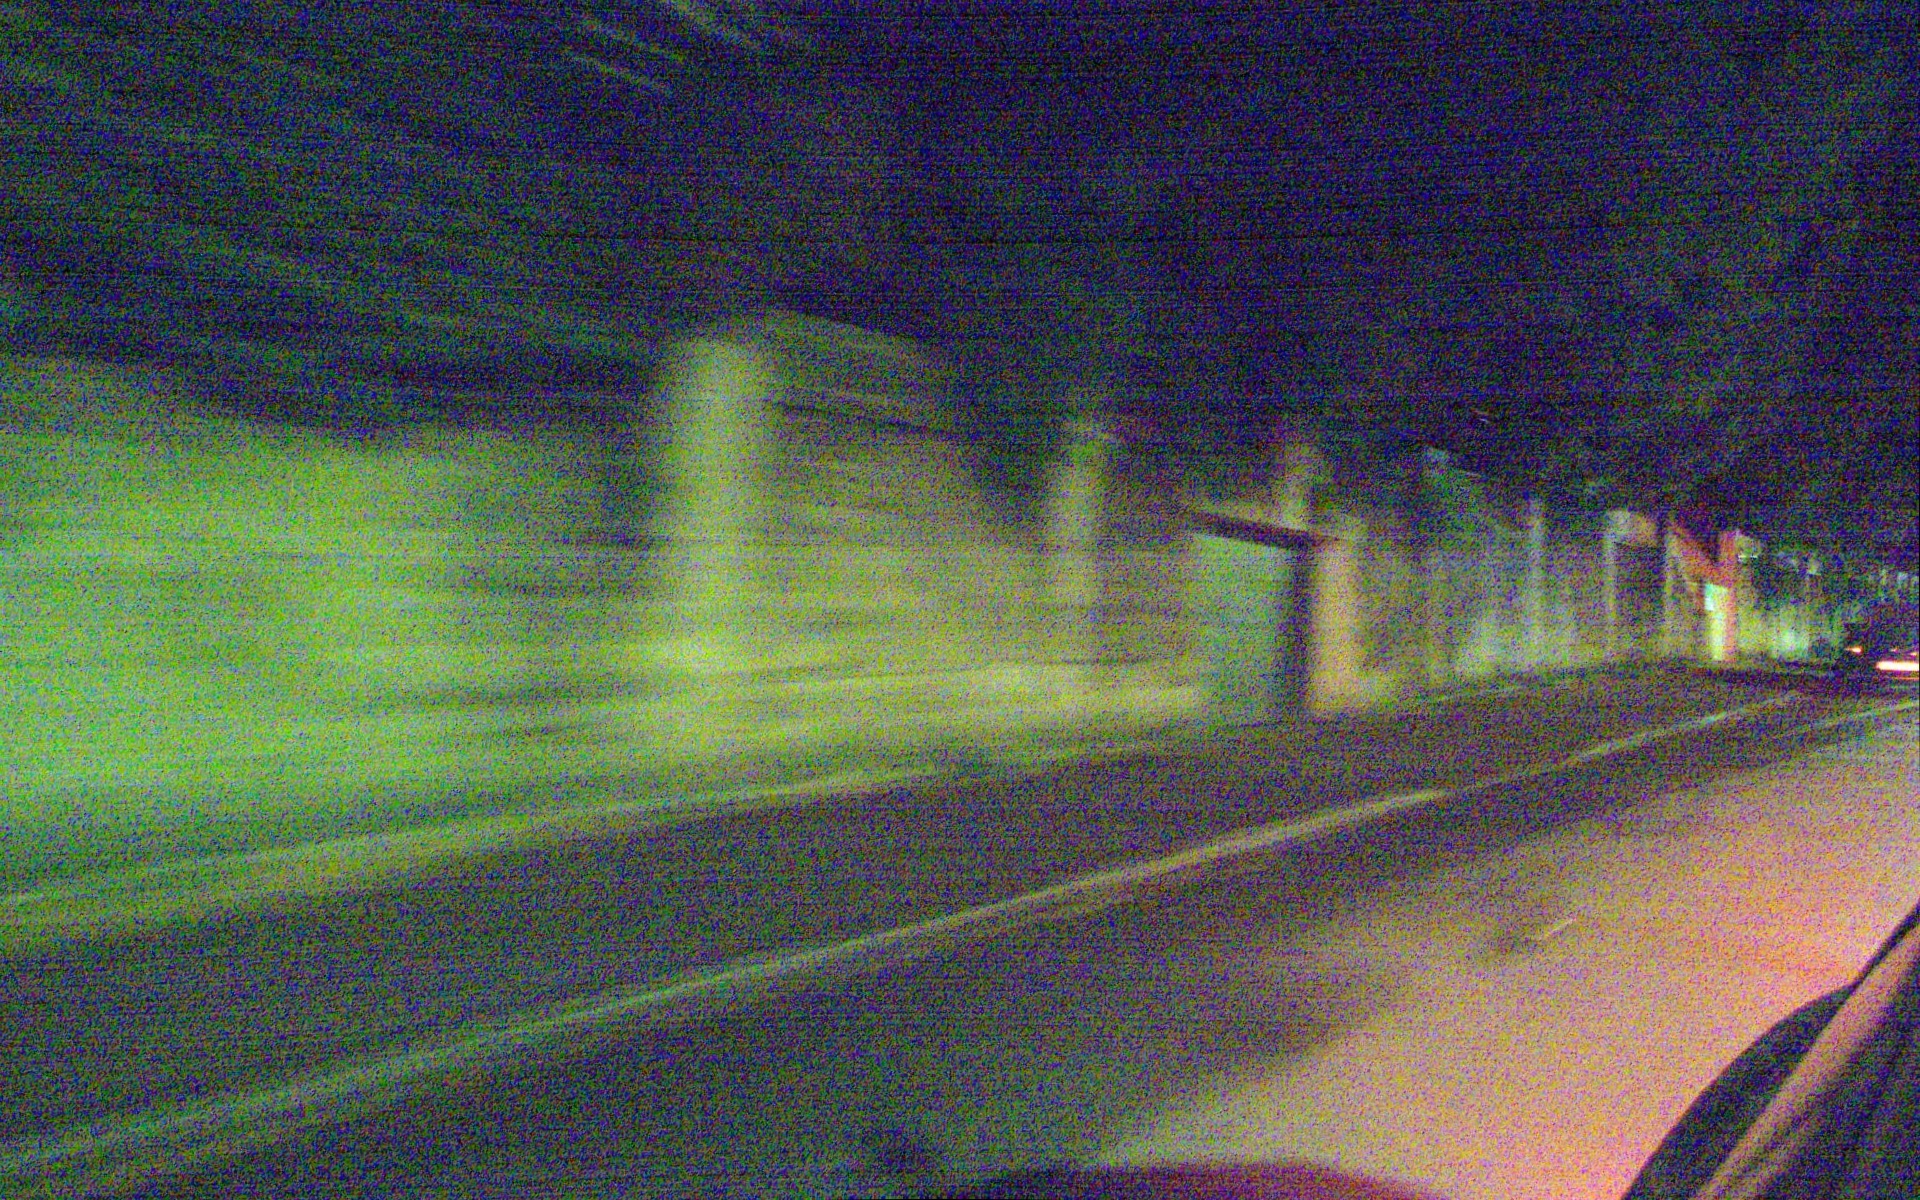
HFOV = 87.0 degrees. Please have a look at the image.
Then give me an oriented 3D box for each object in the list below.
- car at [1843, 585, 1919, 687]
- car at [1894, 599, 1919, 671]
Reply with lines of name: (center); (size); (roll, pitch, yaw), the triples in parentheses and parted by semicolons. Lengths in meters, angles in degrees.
car: (17.554, 0.595, 18.134); (4.535, 1.685, 1.836); (0, 0, -39)
car: (21.662, 0.742, 21.832); (4.182, 1.490, 1.746); (1, -2, -41)
